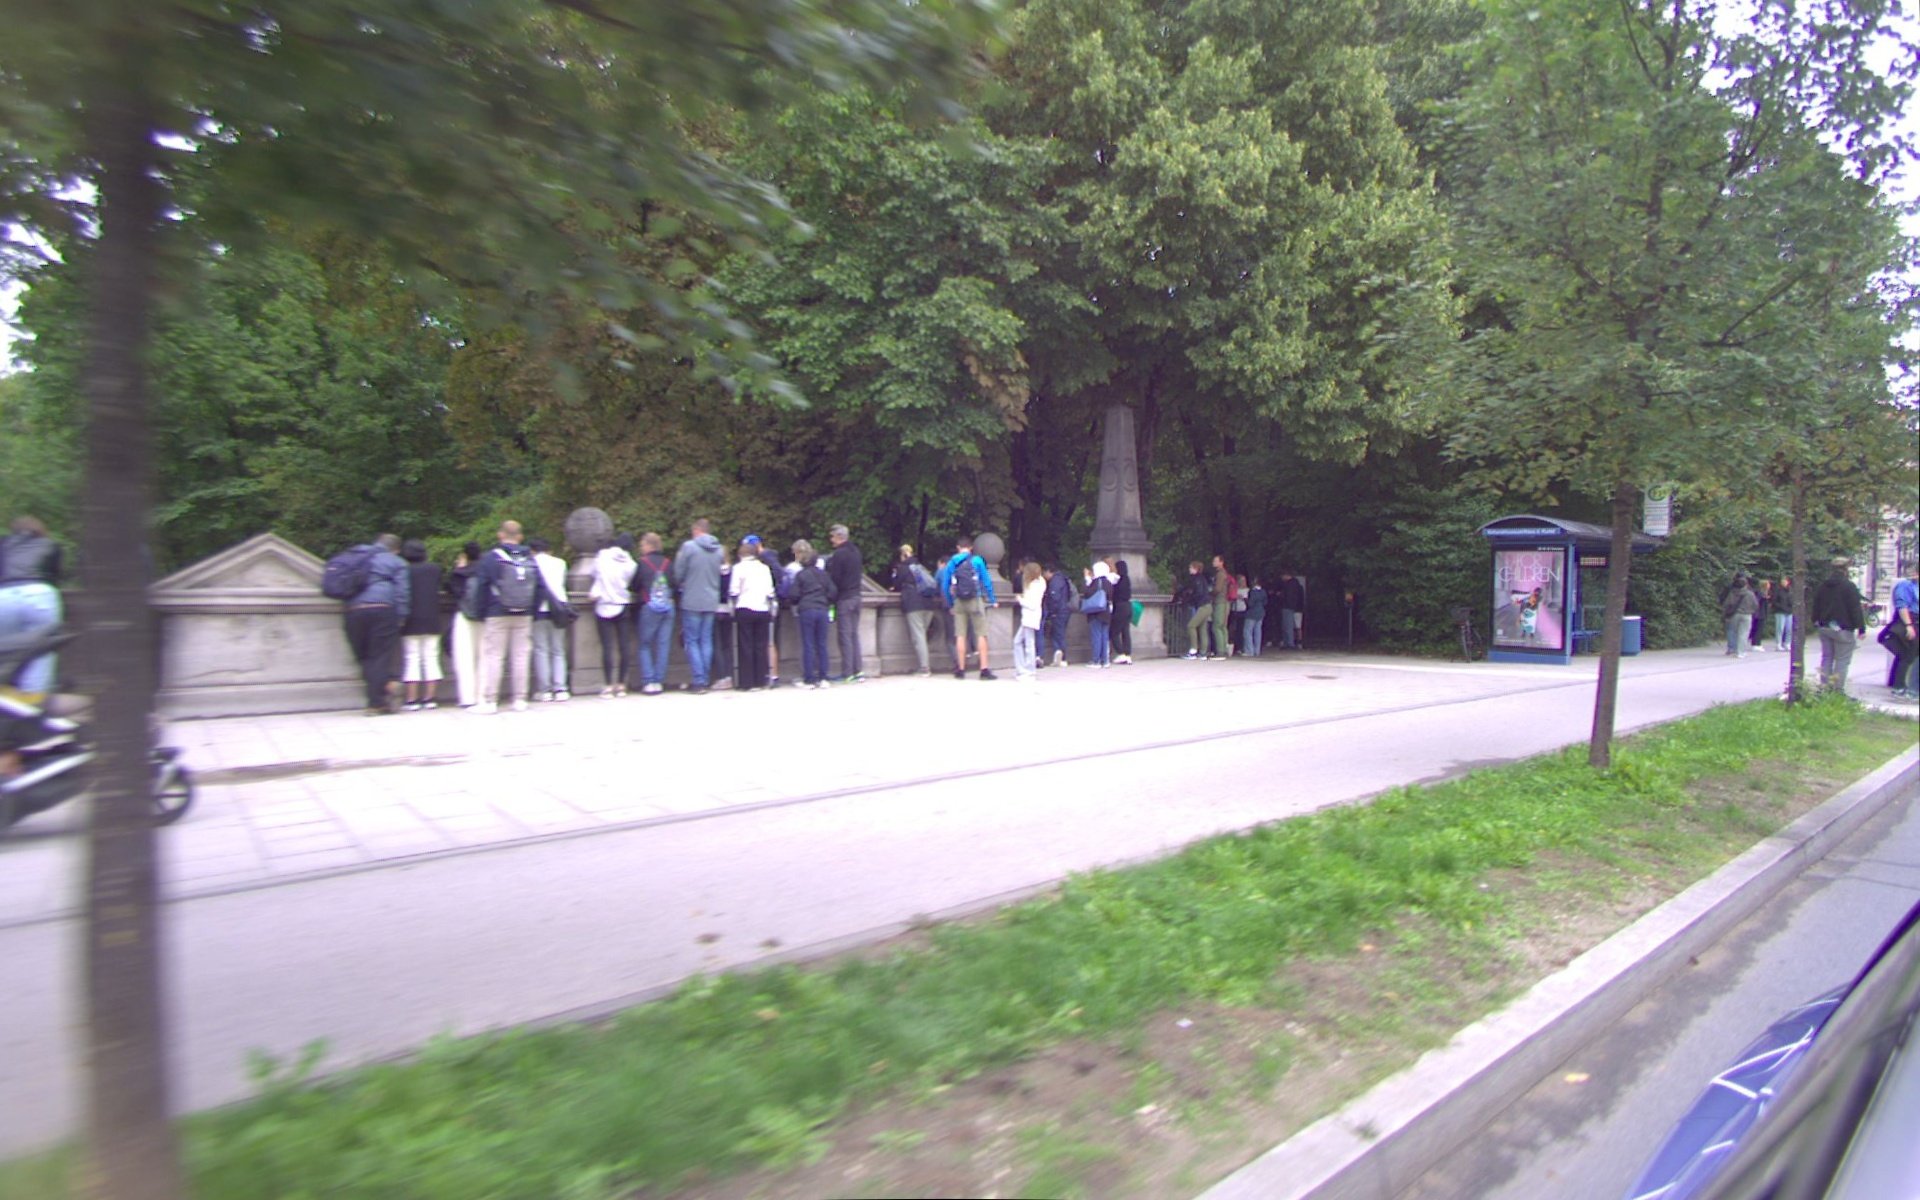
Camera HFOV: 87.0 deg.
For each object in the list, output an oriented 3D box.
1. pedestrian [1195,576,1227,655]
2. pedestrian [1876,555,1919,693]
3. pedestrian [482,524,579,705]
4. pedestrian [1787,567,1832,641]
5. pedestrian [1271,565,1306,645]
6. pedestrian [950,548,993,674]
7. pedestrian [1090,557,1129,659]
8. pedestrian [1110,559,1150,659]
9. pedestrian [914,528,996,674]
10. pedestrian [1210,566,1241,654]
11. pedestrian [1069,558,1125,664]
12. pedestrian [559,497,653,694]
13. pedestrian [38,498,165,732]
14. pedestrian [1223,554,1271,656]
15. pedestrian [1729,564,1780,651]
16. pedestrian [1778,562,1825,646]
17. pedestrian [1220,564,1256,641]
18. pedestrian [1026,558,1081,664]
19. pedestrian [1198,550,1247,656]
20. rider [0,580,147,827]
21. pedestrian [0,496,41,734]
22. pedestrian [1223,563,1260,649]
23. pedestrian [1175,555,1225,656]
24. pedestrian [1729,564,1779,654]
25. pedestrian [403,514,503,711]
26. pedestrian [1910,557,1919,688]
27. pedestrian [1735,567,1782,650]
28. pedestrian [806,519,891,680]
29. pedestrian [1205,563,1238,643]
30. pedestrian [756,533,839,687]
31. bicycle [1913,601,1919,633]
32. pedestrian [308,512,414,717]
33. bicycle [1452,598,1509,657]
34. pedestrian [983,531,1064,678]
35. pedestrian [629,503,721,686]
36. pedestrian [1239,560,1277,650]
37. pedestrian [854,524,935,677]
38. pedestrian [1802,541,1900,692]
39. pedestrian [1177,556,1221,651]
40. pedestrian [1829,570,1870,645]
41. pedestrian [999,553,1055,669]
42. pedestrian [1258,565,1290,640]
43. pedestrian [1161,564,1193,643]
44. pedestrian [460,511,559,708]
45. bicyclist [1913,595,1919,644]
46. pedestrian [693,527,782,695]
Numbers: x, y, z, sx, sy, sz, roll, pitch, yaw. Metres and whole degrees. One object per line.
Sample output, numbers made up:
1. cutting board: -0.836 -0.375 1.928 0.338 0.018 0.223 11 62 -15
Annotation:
1. pedestrian: 4.912 0.297 19.807 0.434 1.526 0.421 0 0 -37
2. pedestrian: 13.088 0.315 13.747 0.696 1.831 0.639 0 0 -4
3. pedestrian: -4.277 0.131 10.075 0.715 1.712 0.814 0 0 -37
4. pedestrian: 21.741 0.097 25.907 0.742 1.862 0.752 0 0 -39
5. pedestrian: 7.399 0.109 22.824 0.522 1.790 0.639 0 0 -8
6. pedestrian: 0.165 0.147 14.075 0.434 1.725 0.421 0 0 -38
7. pedestrian: 2.287 0.119 15.473 0.434 1.526 0.421 0 0 -37
8. pedestrian: 2.642 0.133 15.733 0.434 1.526 0.421 0 0 -37
9. pedestrian: -0.067 0.007 12.979 0.715 1.790 0.814 0 0 -37
10. pedestrian: 5.275 0.185 20.095 0.434 1.725 0.421 0 0 -37
11. pedestrian: 2.025 0.153 14.969 0.523 1.526 0.638 0 0 -37
12. pedestrian: -3.682 -0.052 10.516 0.715 1.941 0.814 0 0 -37
13. pedestrian: -6.723 0.097 7.969 0.715 1.712 0.814 0 1 -37
14. pedestrian: 5.177 0.080 18.267 0.523 1.790 0.638 0 0 -37
15. pedestrian: 17.100 0.151 21.780 0.933 1.831 0.709 0 0 -40
16. pedestrian: 19.899 0.088 23.918 0.939 1.939 0.709 0 0 -40
17. pedestrian: 6.730 0.058 24.498 0.522 1.790 0.639 4 -1 -8
18. pedestrian: 1.382 0.153 14.957 0.523 1.526 0.638 0 0 -37
19. pedestrian: 4.527 0.040 17.475 0.523 1.790 0.638 0 0 -37
20. rider: -4.701 0.468 4.834 1.220 1.126 0.767 0 0 -35
21. pedestrian: -7.304 0.089 7.452 0.715 1.711 0.814 0 2 -37
22. pedestrian: 5.930 0.123 21.335 0.522 1.790 0.639 0 0 -8
23. pedestrian: 4.044 0.085 17.048 0.523 1.647 0.638 0 0 -37
24. pedestrian: 16.500 0.170 21.040 0.627 1.831 0.709 0 0 -40
25. pedestrian: -4.830 0.105 9.624 0.715 1.761 0.814 0 0 -37
26. pedestrian: 13.790 0.318 14.124 0.627 1.831 0.709 0 0 -40
27. pedestrian: 19.045 0.200 24.147 0.939 1.939 0.709 0 0 -40
28. pedestrian: -1.358 -0.012 12.277 0.715 1.875 0.814 0 0 -37
29. pedestrian: 5.934 0.073 22.969 0.522 1.790 0.639 0 0 -8
30. pedestrian: -1.902 0.107 11.836 0.661 1.712 0.814 0 0 -37
31. bicycle: 33.475 0.593 34.958 0.737 1.071 2.130 0 0 42
32. pedestrian: -5.318 0.101 8.978 0.715 1.711 0.814 0 2 -37
33. bicycle: 9.696 0.491 18.834 1.548 1.073 0.393 0 0 -41
34. pedestrian: 0.828 0.048 13.260 0.715 1.852 0.814 0 0 -37
35. pedestrian: -3.099 -0.063 10.999 0.715 1.898 0.814 0 0 -37
36. pedestrian: 6.089 0.097 20.694 0.522 1.790 0.639 0 0 -8
37. pedestrian: -0.838 -0.002 12.948 0.715 1.875 0.814 0 0 -37
38. pedestrian: 11.582 0.198 13.180 0.533 1.904 0.806 0 0 -4
39. pedestrian: 4.589 0.062 19.419 0.523 1.790 0.638 0 0 -37
40. pedestrian: 22.281 0.181 25.360 0.629 1.862 0.672 0 0 -39
41. pedestrian: 0.965 0.156 14.684 0.523 1.637 0.638 0 0 -37
42. pedestrian: 7.635 0.056 24.624 0.522 1.790 0.639 0 0 -8
43. pedestrian: 4.949 0.072 23.062 0.522 1.790 0.639 0 0 -8
44. pedestrian: -4.131 0.077 9.272 0.715 1.712 0.593 0 0 -37
45. bicyclist: 33.451 0.664 34.944 0.756 1.688 0.886 0 0 41
46. pedestrian: -2.523 0.109 11.460 0.715 1.813 0.814 0 0 -37
